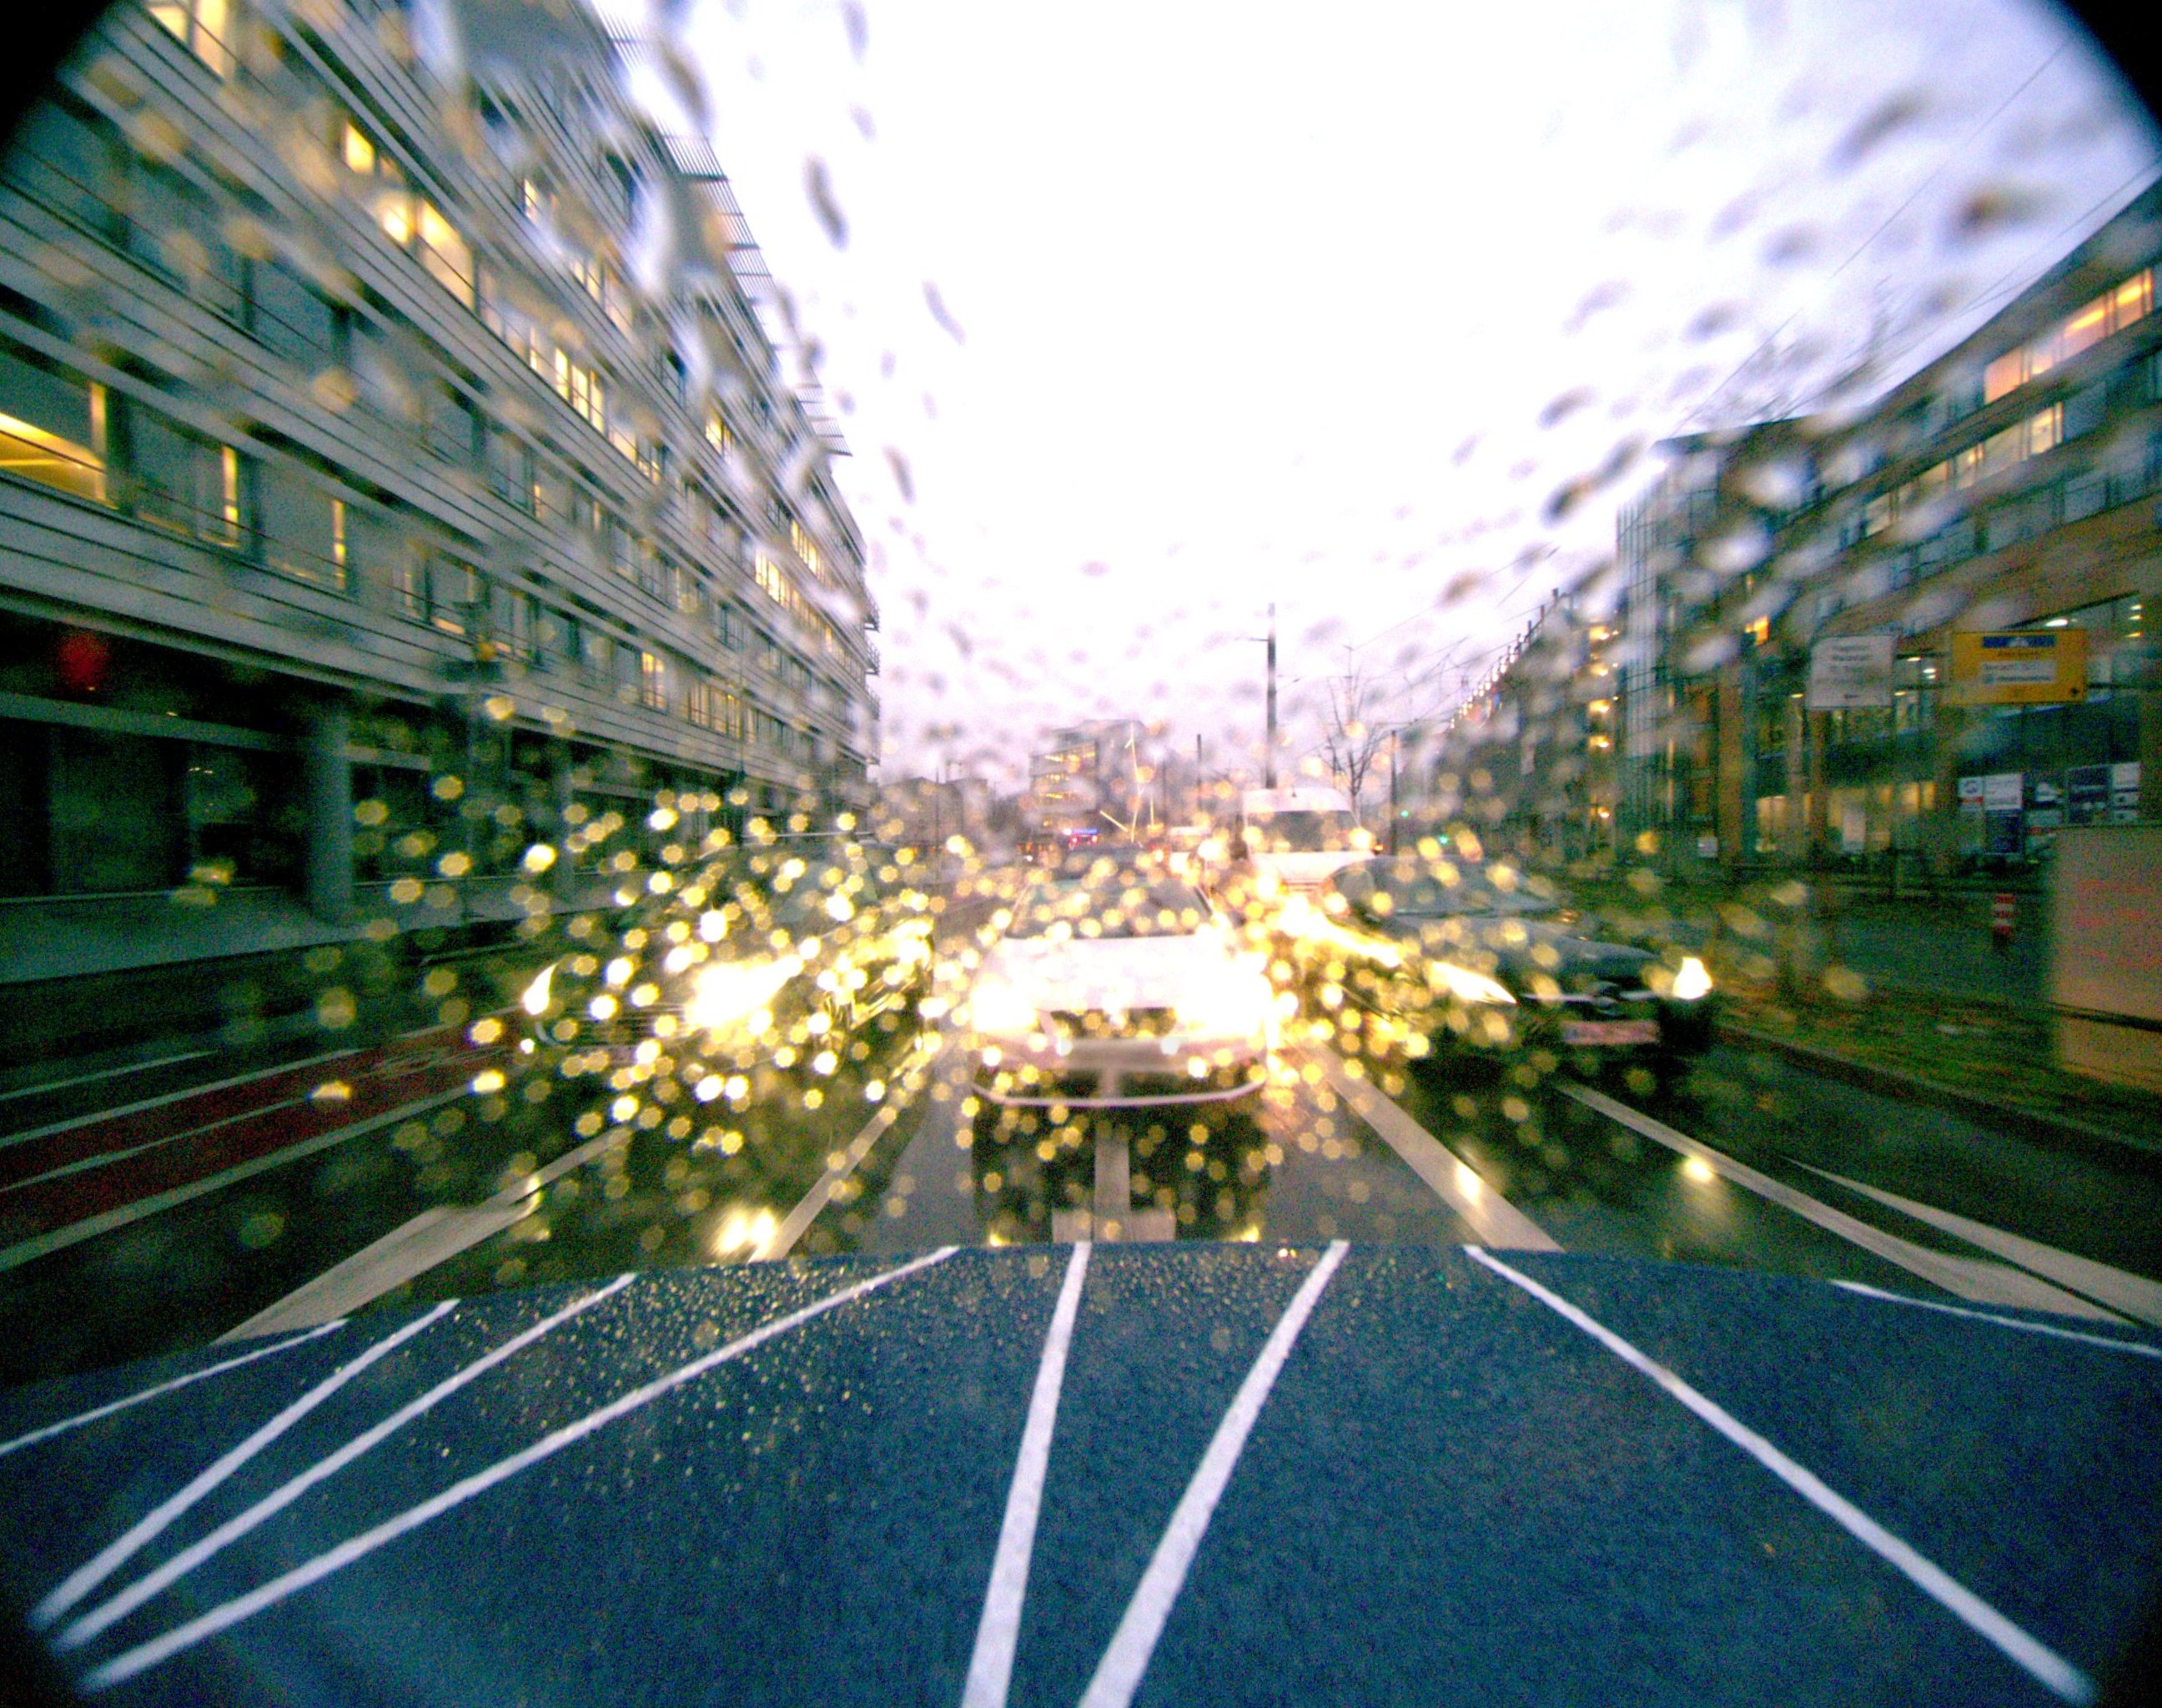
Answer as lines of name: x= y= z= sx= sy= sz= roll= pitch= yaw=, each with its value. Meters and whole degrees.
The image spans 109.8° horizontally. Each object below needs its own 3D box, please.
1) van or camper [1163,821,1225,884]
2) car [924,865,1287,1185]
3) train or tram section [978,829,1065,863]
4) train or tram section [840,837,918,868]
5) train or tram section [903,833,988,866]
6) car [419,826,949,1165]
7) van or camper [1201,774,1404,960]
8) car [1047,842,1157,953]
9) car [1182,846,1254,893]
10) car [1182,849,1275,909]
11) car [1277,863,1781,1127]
van or camper: x=4.705 y=-0.098 z=32.392 sx=2.184 sy=2.339 sz=5.651 roll=-2 pitch=1 yaw=5
car: x=0.192 y=0.906 z=5.947 sx=1.773 sy=1.449 sz=4.221 roll=-2 pitch=1 yaw=2
train or tram section: x=-9.619 y=-1.260 z=122.977 sx=13.362 sy=4.832 sz=3.742 roll=-2 pitch=1 yaw=14
train or tram section: x=-34.881 y=-0.293 z=130.975 sx=13.354 sy=4.775 sz=3.744 roll=-2 pitch=1 yaw=24
train or tram section: x=-22.524 y=-0.750 z=126.425 sx=13.359 sy=4.905 sz=3.743 roll=-2 pitch=1 yaw=17
car: x=-2.595 y=0.762 z=6.528 sx=1.909 sy=1.809 sz=4.689 roll=-2 pitch=1 yaw=2
van or camper: x=3.564 y=0.136 z=13.563 sx=2.061 sy=2.533 sz=5.885 roll=-2 pitch=1 yaw=2
car: x=0.392 y=0.675 z=13.970 sx=1.684 sy=1.723 sz=3.714 roll=-2 pitch=1 yaw=2
car: x=4.595 y=0.471 z=25.955 sx=1.824 sy=1.391 sz=3.952 roll=-2 pitch=1 yaw=2
car: x=3.892 y=0.598 z=20.613 sx=1.824 sy=1.391 sz=3.952 roll=-2 pitch=1 yaw=2
car: x=3.058 y=0.829 z=6.385 sx=1.824 sy=1.324 sz=4.225 roll=-2 pitch=1 yaw=2
